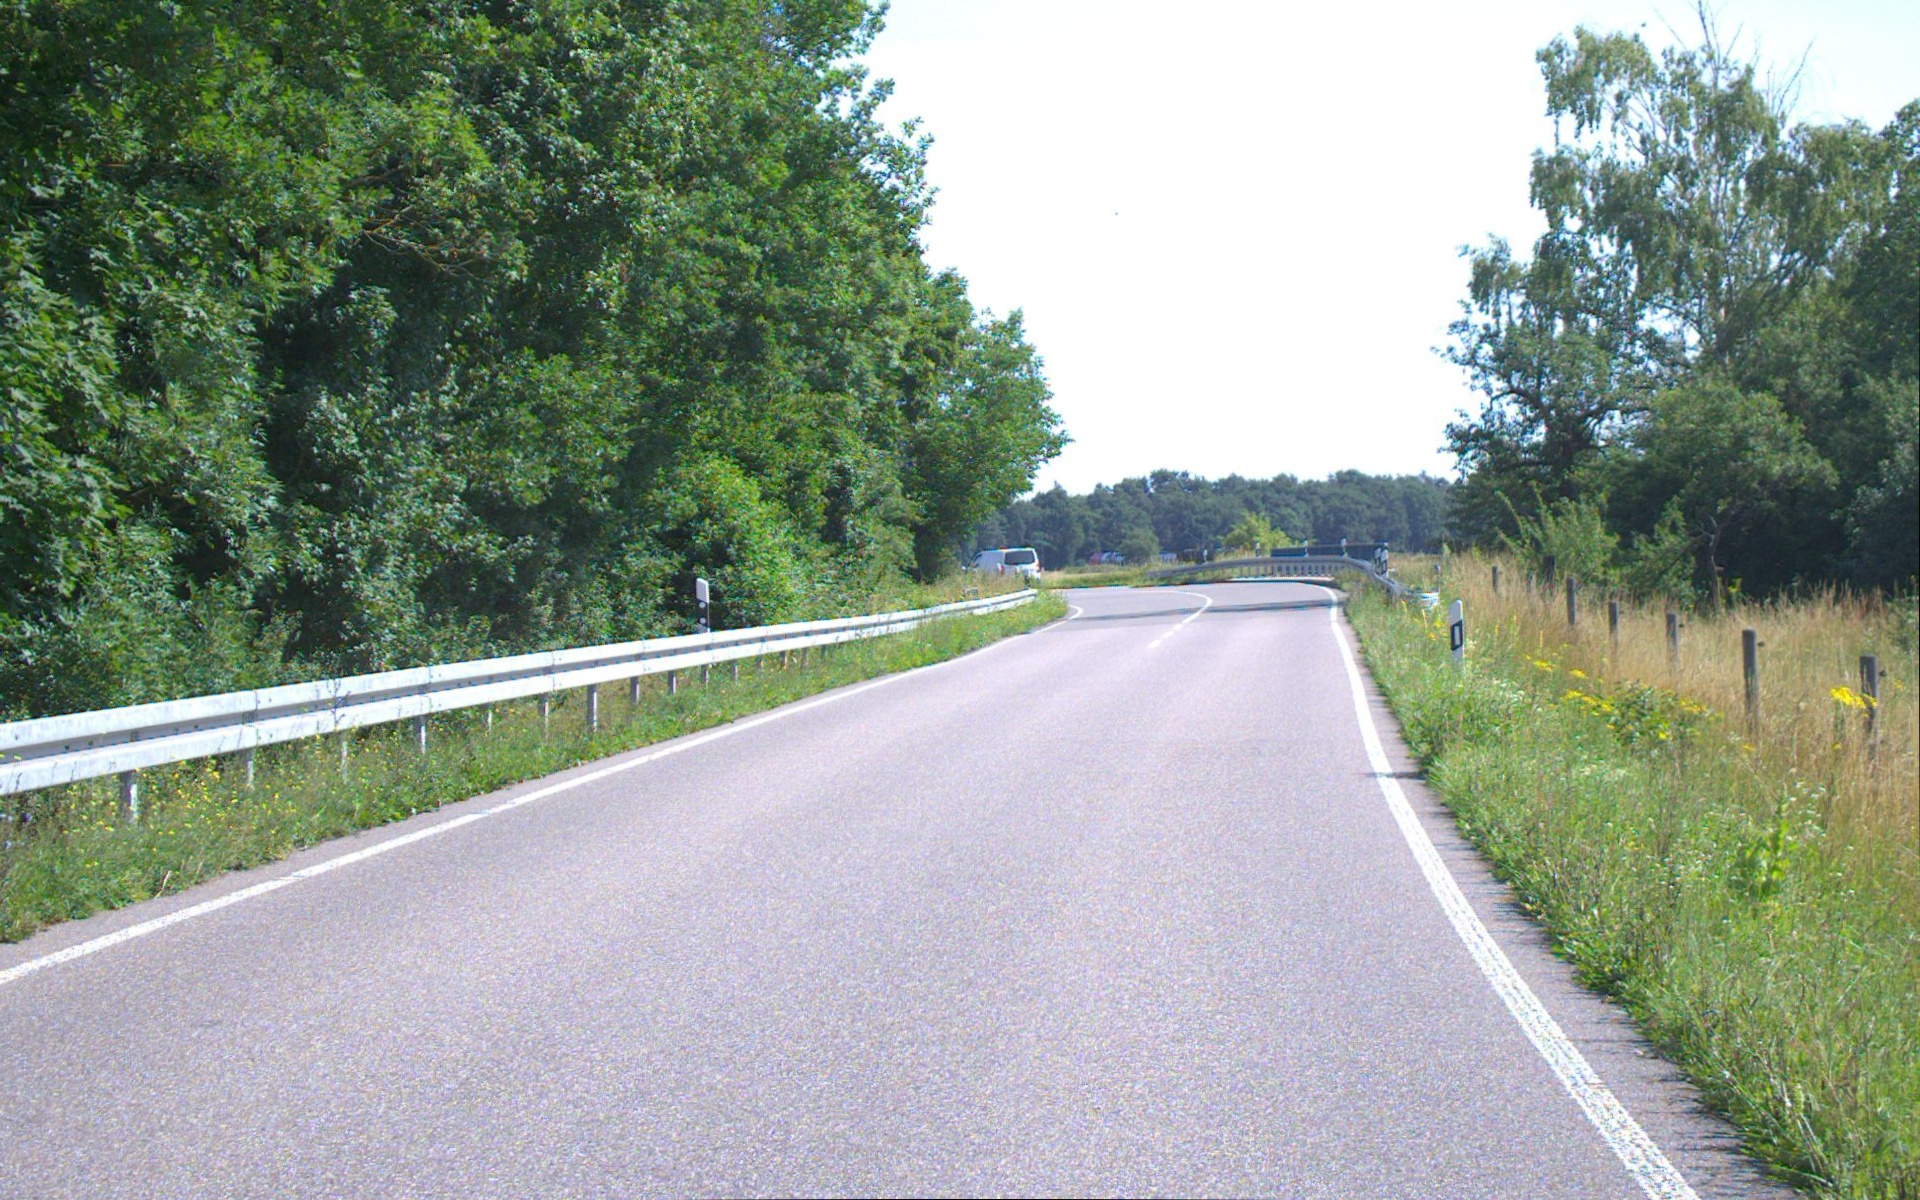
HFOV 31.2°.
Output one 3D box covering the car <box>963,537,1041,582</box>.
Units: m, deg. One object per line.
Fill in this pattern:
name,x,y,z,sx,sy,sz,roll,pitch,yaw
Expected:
car,1.761,-1.709,146.499,1.961,1.796,4.161,0,-1,-21
